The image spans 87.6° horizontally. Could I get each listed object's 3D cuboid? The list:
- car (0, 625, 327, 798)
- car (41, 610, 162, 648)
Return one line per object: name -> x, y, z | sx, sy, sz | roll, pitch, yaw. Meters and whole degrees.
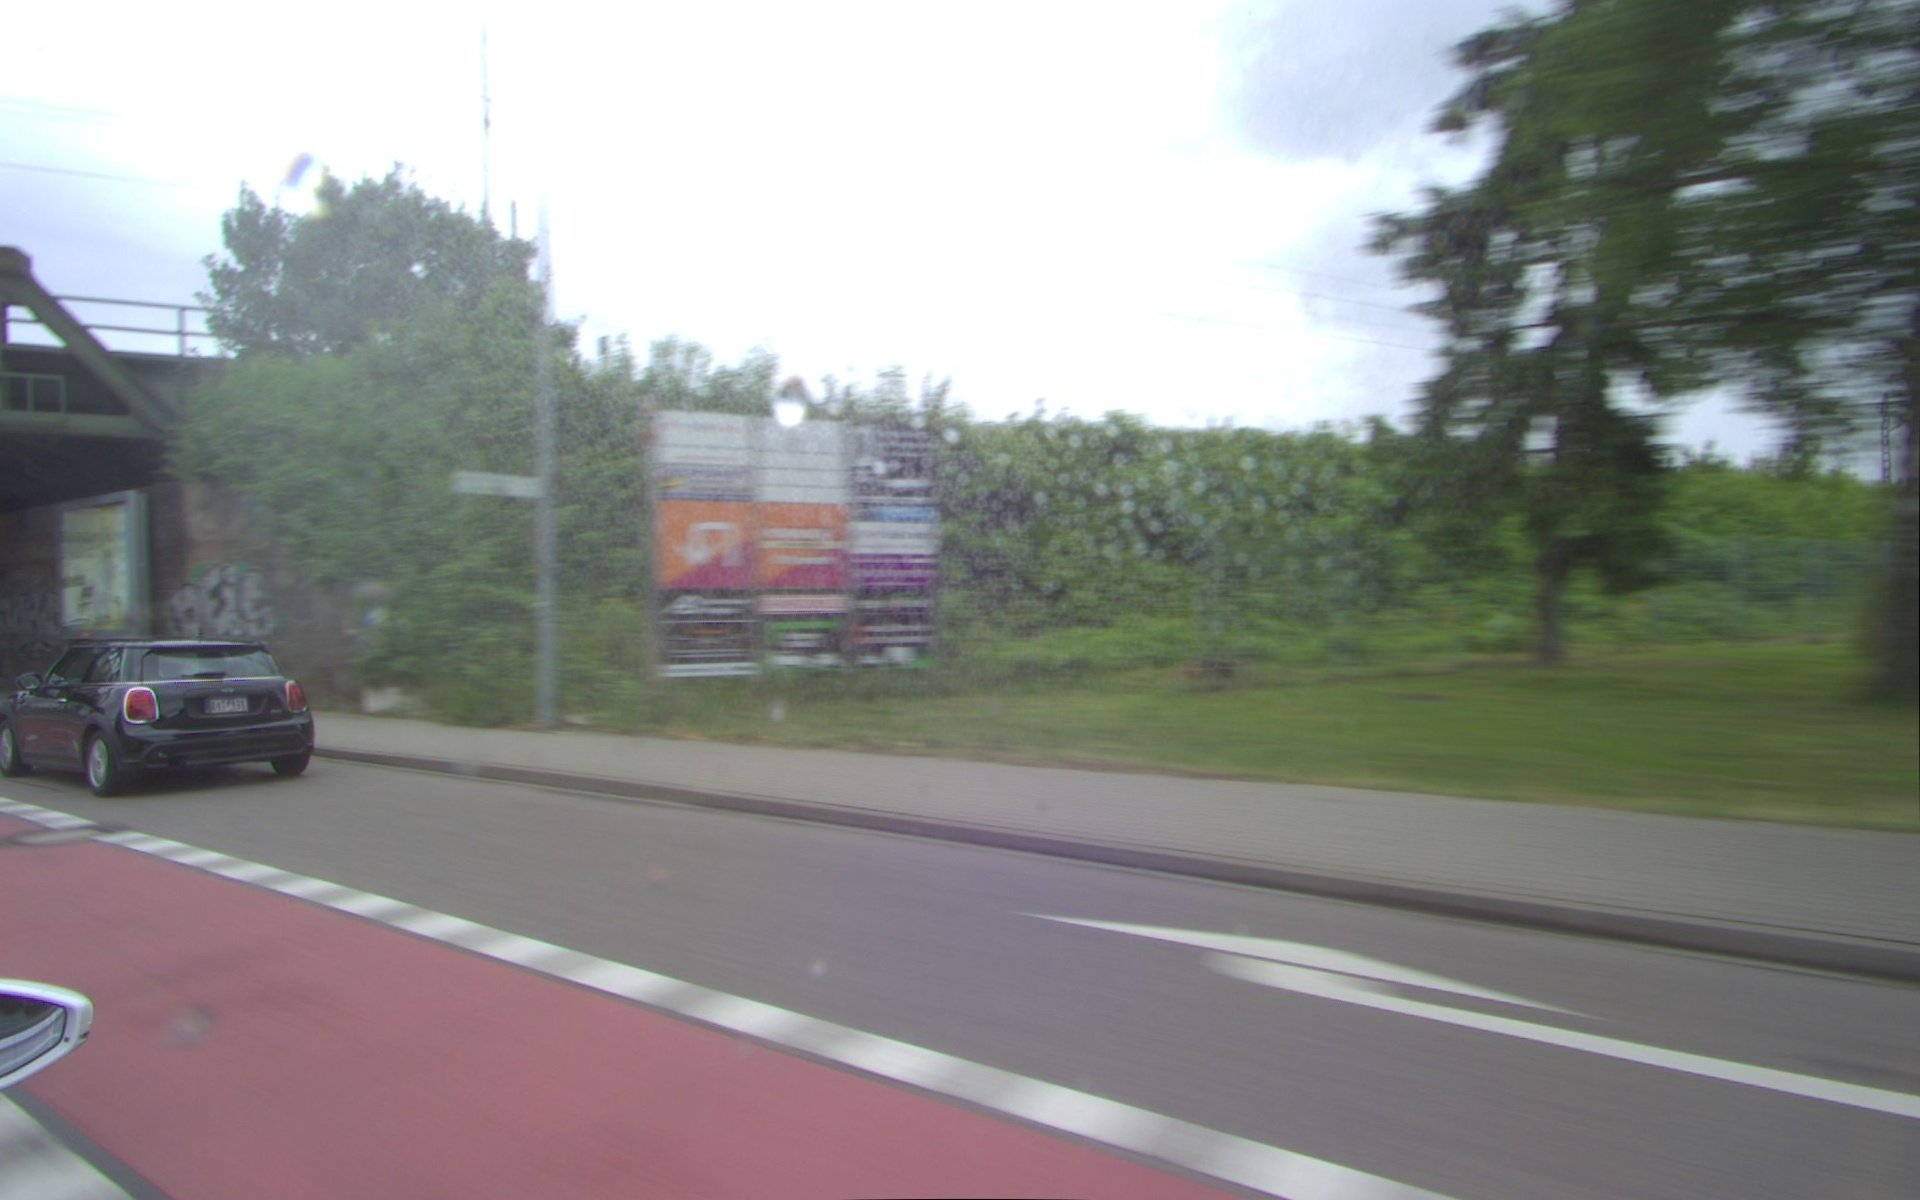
car -> -8.360, 1.005, 10.334 | 3.720, 1.450, 1.676 | 0, -1, 33
car -> -44.318, 1.484, 51.811 | 4.351, 1.852, 1.874 | -1, -1, -25
